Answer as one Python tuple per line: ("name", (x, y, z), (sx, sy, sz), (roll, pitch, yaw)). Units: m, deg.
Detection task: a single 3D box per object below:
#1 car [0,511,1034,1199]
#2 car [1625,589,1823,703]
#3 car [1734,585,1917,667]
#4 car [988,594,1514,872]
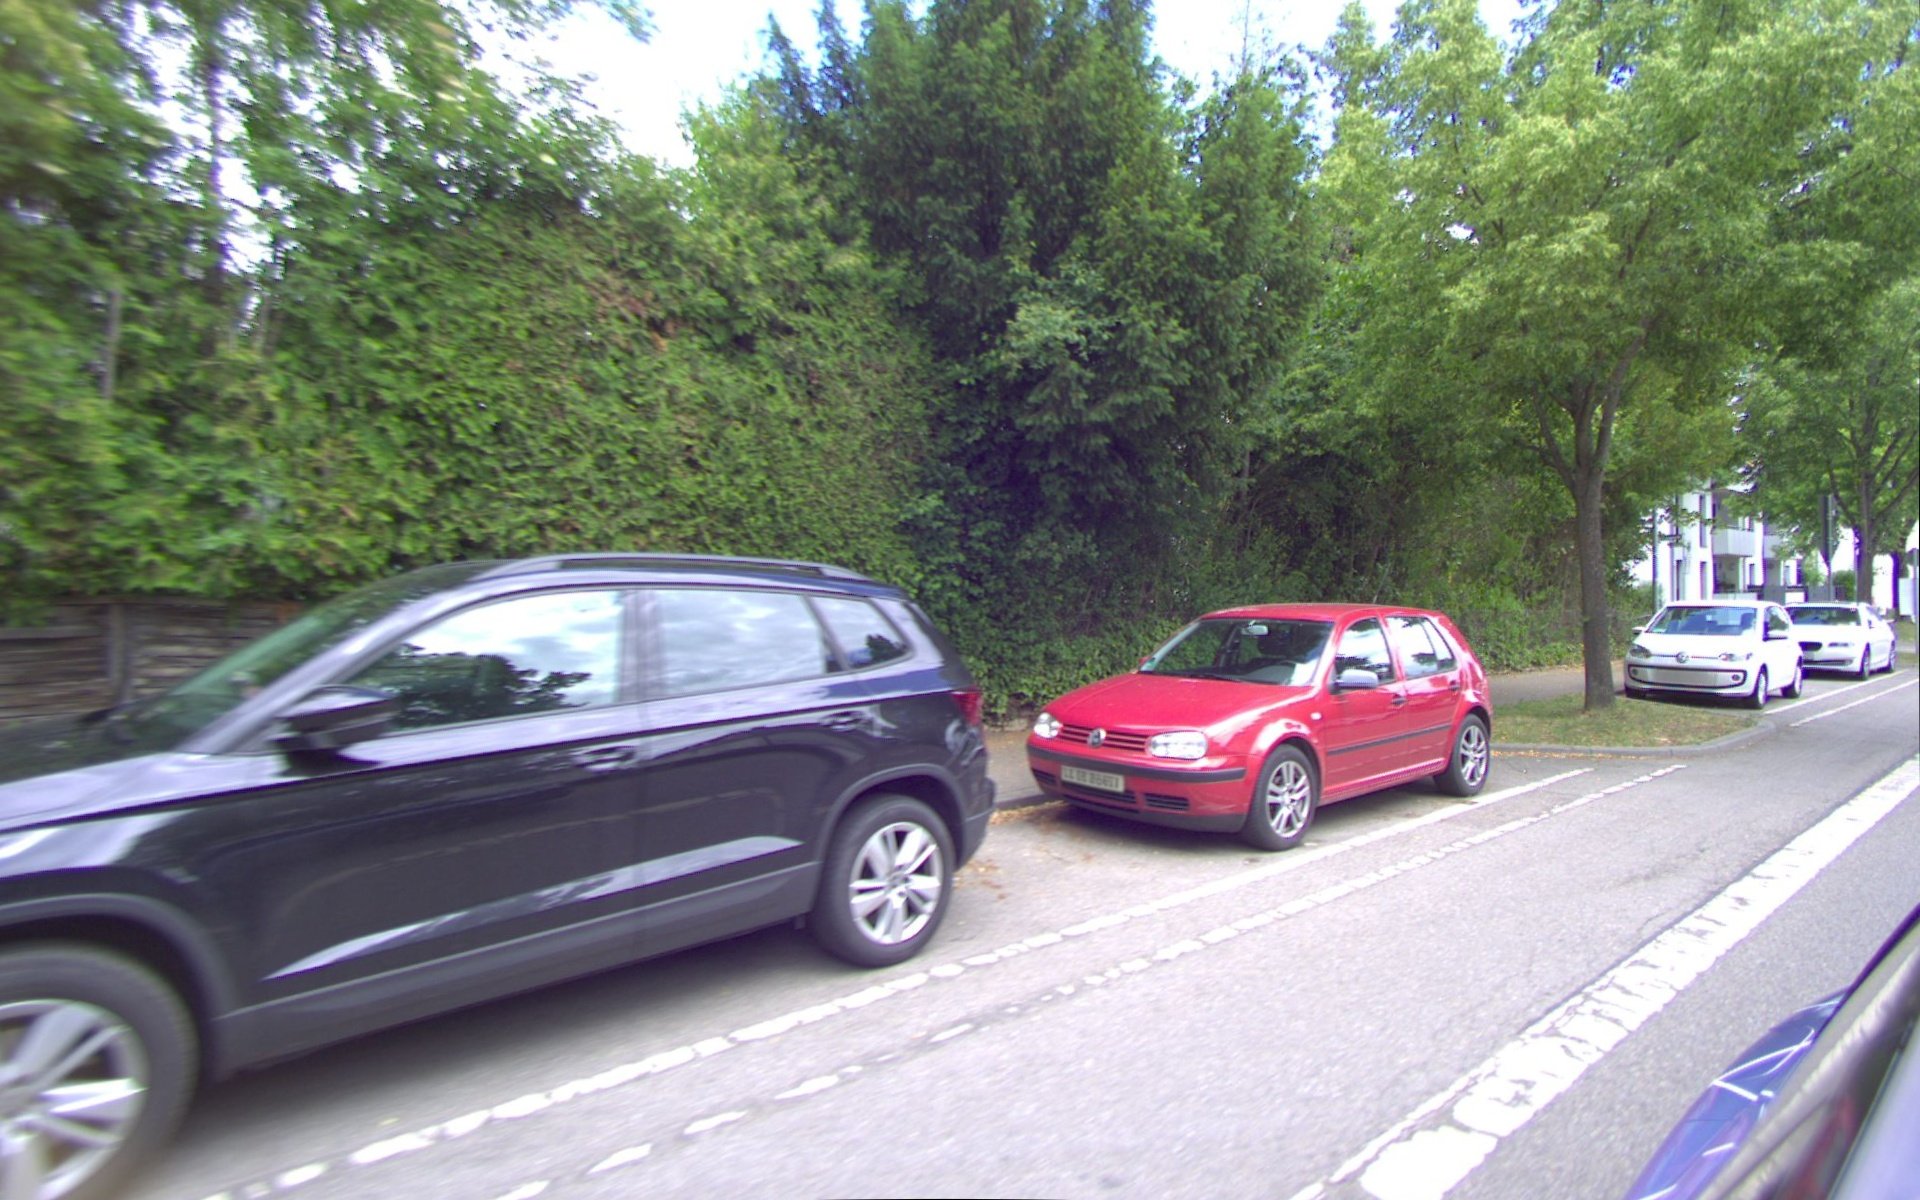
("car", (-1.723, 0.612, 3.682), (4.099, 1.636, 1.640), (0, 0, -43))
("car", (11.376, 0.586, 14.995), (3.593, 1.478, 1.619), (0, 1, -41))
("car", (17.541, 0.448, 20.429), (4.935, 1.462, 2.025), (0, 0, -40))
("car", (2.221, 0.685, 7.188), (3.928, 1.438, 1.642), (0, 1, -39))
